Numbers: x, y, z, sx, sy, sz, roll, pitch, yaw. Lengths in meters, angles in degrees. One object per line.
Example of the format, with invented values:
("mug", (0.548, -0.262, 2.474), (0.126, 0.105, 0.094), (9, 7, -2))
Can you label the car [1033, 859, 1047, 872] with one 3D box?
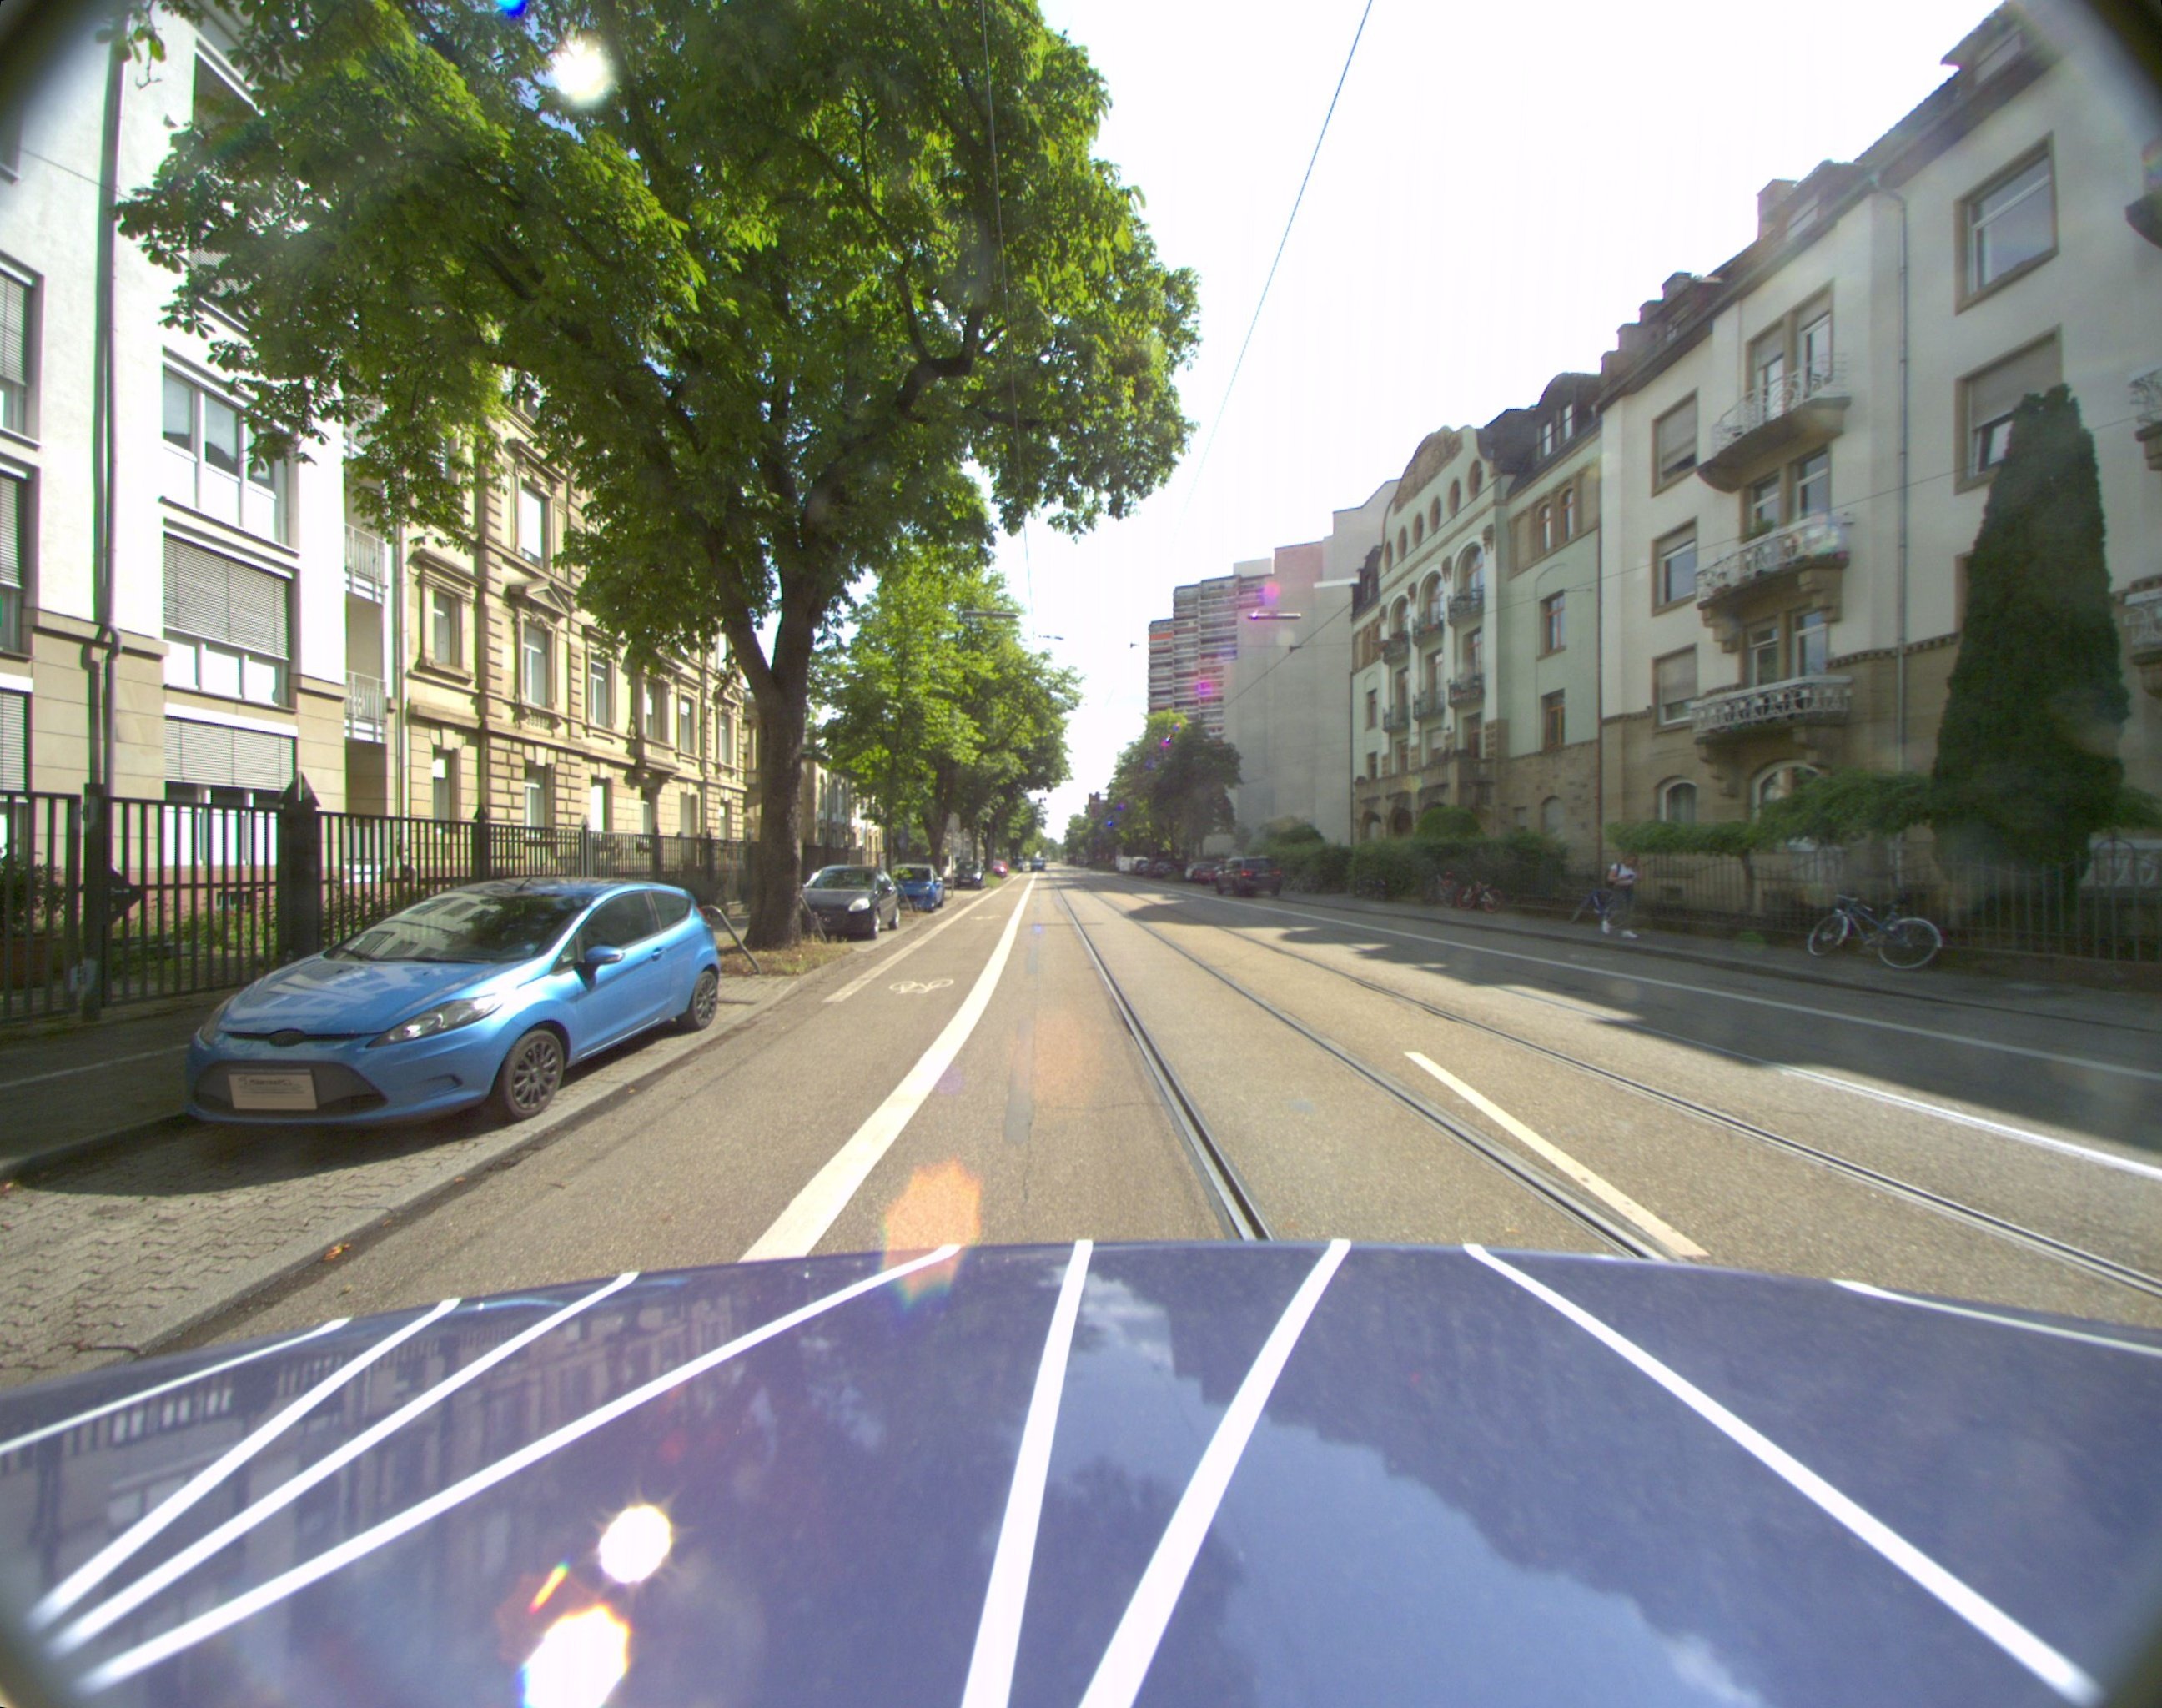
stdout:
("car", (-6.262, 1.795, 115.427), (1.974, 1.900, 4.817), (0, 0, -2))

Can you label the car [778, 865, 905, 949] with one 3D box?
("car", (-4.900, 1.023, 16.016), (1.679, 1.467, 3.659), (3, 0, -4))

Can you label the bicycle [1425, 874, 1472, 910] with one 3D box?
("bicycle", (10.726, 1.093, 22.234), (0.468, 0.990, 1.787), (0, 0, -1))

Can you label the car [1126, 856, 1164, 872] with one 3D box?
("car", (6.973, 1.088, 82.914), (3.994, 1.672, 2.001), (0, 0, 8))

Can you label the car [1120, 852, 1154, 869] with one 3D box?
("car", (6.564, 0.762, 88.751), (1.994, 1.740, 4.008), (-1, 1, 41))

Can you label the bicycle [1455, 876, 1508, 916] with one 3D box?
("bicycle", (10.684, 1.095, 20.335), (0.468, 0.990, 1.787), (0, 0, -1))

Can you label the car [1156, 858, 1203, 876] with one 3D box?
("car", (8.515, 1.139, 65.523), (3.994, 1.499, 2.001), (0, 0, 8))

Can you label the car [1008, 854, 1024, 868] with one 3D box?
("car", (-7.680, 0.767, 90.446), (1.744, 1.564, 3.929), (3, 0, -4))

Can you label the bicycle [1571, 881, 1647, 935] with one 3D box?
("bicycle", (10.967, 1.096, 15.850), (0.467, 0.990, 1.787), (0, 0, 5))

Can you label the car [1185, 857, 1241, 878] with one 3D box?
("car", (9.737, 1.004, 56.316), (3.994, 1.499, 2.001), (0, 0, 8))

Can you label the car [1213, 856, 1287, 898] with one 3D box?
("car", (7.304, 0.938, 33.299), (1.922, 1.685, 4.400), (0, 0, -5))

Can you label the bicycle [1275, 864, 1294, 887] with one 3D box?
("bicycle", (10.032, 1.049, 37.472), (0.468, 1.128, 1.787), (0, 0, -1))

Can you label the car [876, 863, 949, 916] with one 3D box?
("car", (-5.293, 1.061, 24.231), (1.679, 1.467, 3.659), (3, 0, -4))

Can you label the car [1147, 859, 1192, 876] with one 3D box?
("car", (8.022, 1.184, 68.642), (3.994, 1.499, 2.001), (0, 0, 8))

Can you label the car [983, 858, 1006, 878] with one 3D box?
("car", (-7.436, 1.168, 65.772), (1.744, 1.564, 3.929), (3, 0, -4))

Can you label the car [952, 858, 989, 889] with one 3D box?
("car", (-6.161, 1.075, 42.810), (1.744, 1.564, 3.659), (3, 0, -4))

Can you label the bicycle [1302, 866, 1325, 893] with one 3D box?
("bicycle", (10.207, 1.105, 33.433), (0.468, 1.128, 1.787), (0, 0, -1))

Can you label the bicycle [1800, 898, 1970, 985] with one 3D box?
("bicycle", (11.104, 1.158, 10.605), (0.467, 0.990, 1.979), (0, 0, 7))

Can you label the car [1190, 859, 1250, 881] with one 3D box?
("car", (9.595, 1.079, 52.768), (3.994, 1.499, 2.001), (0, 0, 8))

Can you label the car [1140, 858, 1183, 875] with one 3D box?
("car", (7.623, 1.165, 71.853), (3.994, 1.499, 2.001), (0, 0, 8))

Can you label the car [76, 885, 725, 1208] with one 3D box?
("car", (-4.323, 1.069, 5.716), (1.647, 1.467, 3.660), (3, 0, -3))

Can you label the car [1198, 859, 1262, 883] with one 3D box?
("car", (9.623, 1.061, 49.260), (3.994, 1.499, 2.001), (0, 0, 8))

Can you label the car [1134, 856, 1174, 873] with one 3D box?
("car", (7.546, 1.096, 78.488), (3.994, 1.672, 2.001), (0, 0, 8))

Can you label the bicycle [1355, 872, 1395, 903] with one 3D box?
("bicycle", (10.146, 1.136, 26.322), (0.605, 0.990, 1.981), (0, 0, -1))

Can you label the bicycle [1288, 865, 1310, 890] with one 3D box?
("bicycle", (10.128, 1.089, 35.375), (0.468, 1.128, 1.787), (0, 0, -1))

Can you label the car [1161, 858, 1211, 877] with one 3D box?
("car", (8.606, 1.119, 62.366), (3.994, 1.499, 2.001), (0, 0, 8))

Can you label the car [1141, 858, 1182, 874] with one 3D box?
("car", (7.957, 1.170, 75.013), (3.994, 1.499, 2.001), (0, 0, 8))

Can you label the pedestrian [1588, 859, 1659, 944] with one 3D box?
("pedestrian", (10.021, 0.854, 14.070), (0.759, 1.532, 0.765), (0, 0, -2))

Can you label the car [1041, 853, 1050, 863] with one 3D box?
("car", (-9.209, 1.106, 196.763), (2.146, 2.568, 4.817), (0, 0, -2))
